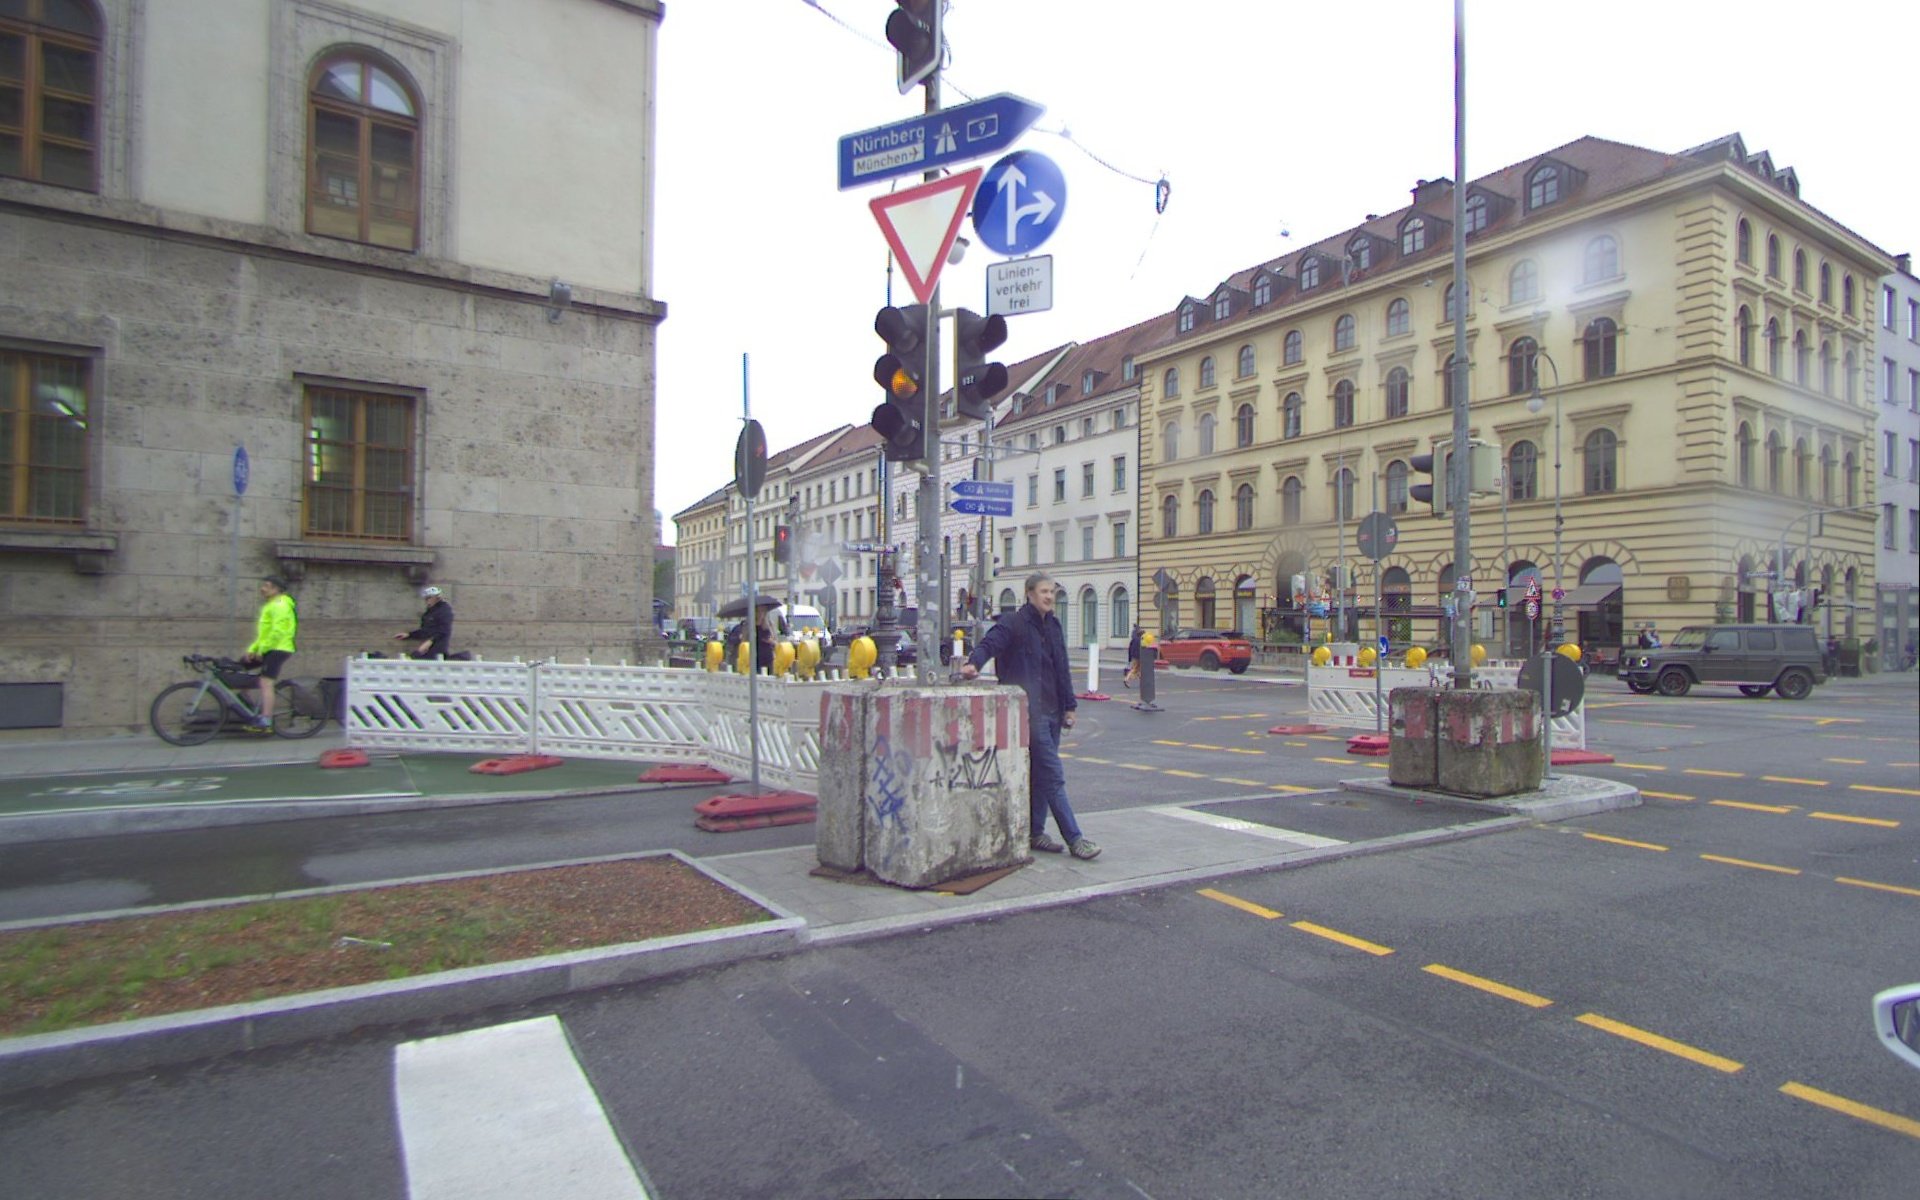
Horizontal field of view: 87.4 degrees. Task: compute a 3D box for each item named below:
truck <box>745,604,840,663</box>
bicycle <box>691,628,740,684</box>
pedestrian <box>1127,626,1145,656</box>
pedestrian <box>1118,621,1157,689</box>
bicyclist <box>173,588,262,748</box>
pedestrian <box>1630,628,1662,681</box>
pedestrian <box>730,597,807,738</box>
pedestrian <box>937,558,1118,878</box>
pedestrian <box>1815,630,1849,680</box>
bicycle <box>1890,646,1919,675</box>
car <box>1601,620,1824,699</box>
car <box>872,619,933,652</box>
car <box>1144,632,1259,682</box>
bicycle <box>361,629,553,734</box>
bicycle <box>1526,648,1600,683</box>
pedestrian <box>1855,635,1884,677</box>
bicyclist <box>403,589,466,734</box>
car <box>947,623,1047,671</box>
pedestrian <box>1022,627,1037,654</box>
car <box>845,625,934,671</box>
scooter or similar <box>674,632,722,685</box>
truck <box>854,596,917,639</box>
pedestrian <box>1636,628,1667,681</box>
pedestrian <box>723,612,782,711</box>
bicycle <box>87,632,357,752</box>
[{"bbox_3d":[-7.640,1.470,45.237,2.094,2.513,5.807,1,-2,-33],"label":"truck"},{"bbox_3d":[-5.982,1.347,24.515,0.378,1.259,1.968,1,0,-37],"label":"bicycle"},{"bbox_3d":[10.479,2.426,59.805,0.731,1.795,0.730,1,-1,-32],"label":"pedestrian"},{"bbox_3d":[4.832,1.492,27.356,0.727,1.795,0.734,1,0,-28],"label":"pedestrian"},{"bbox_3d":[-8.571,0.760,11.623,0.680,1.772,0.795,1,0,-28],"label":"bicyclist"},{"bbox_3d":[23.622,1.868,34.582,0.734,1.795,0.727,1,0,-42],"label":"pedestrian"},{"bbox_3d":[-2.552,0.863,13.361,0.731,1.795,0.839,1,0,-32],"label":"pedestrian"},{"bbox_3d":[0.426,0.662,6.093,1.035,1.766,0.508,2,-1,-42],"label":"pedestrian"},{"bbox_3d":[32.241,2.035,37.140,0.728,1.795,0.732,1,0,-33],"label":"pedestrian"},{"bbox_3d":[43.280,2.749,45.829,2.173,1.259,0.595,1,0,-30],"label":"bicycle"},{"bbox_3d":[20.622,1.593,27.753,4.359,2.040,2.247,0,-1,10],"label":"car"},{"bbox_3d":[-3.294,1.984,56.831,1.848,1.822,3.719,2,-2,-33],"label":"car"},{"bbox_3d":[8.978,2.083,37.632,1.807,1.742,3.957,2,-2,-37],"label":"car"},{"bbox_3d":[-6.554,1.032,13.183,2.171,1.259,0.784,1,0,-28],"label":"bicycle"},{"bbox_3d":[20.678,2.238,34.489,2.162,1.113,0.598,0,-2,34],"label":"bicycle"},{"bbox_3d":[39.123,2.396,43.221,0.728,1.795,0.732,1,0,-33],"label":"pedestrian"},{"bbox_3d":[-6.814,0.774,13.036,0.680,1.799,0.795,1,0,-28],"label":"bicyclist"},{"bbox_3d":[1.358,1.765,38.537,1.978,1.706,3.966,1,-2,-32],"label":"car"},{"bbox_3d":[4.699,2.721,68.017,0.731,1.795,0.730,1,-1,-32],"label":"pedestrian"},{"bbox_3d":[-2.824,1.839,39.508,1.782,1.615,3.964,1,0,-33],"label":"car"},{"bbox_3d":[-6.341,1.381,24.210,0.378,1.159,1.968,1,0,-37],"label":"scooter or similar"},{"bbox_3d":[-4.952,1.168,65.887,2.197,2.698,4.743,2,-2,-31],"label":"truck"},{"bbox_3d":[24.175,1.892,35.105,0.734,1.795,0.727,1,0,-42],"label":"pedestrian"},{"bbox_3d":[-3.652,1.071,17.644,0.731,1.676,0.721,5,-3,-30],"label":"pedestrian"},{"bbox_3d":[-8.459,1.020,11.682,2.418,1.259,0.784,1,0,-28],"label":"bicycle"}]
